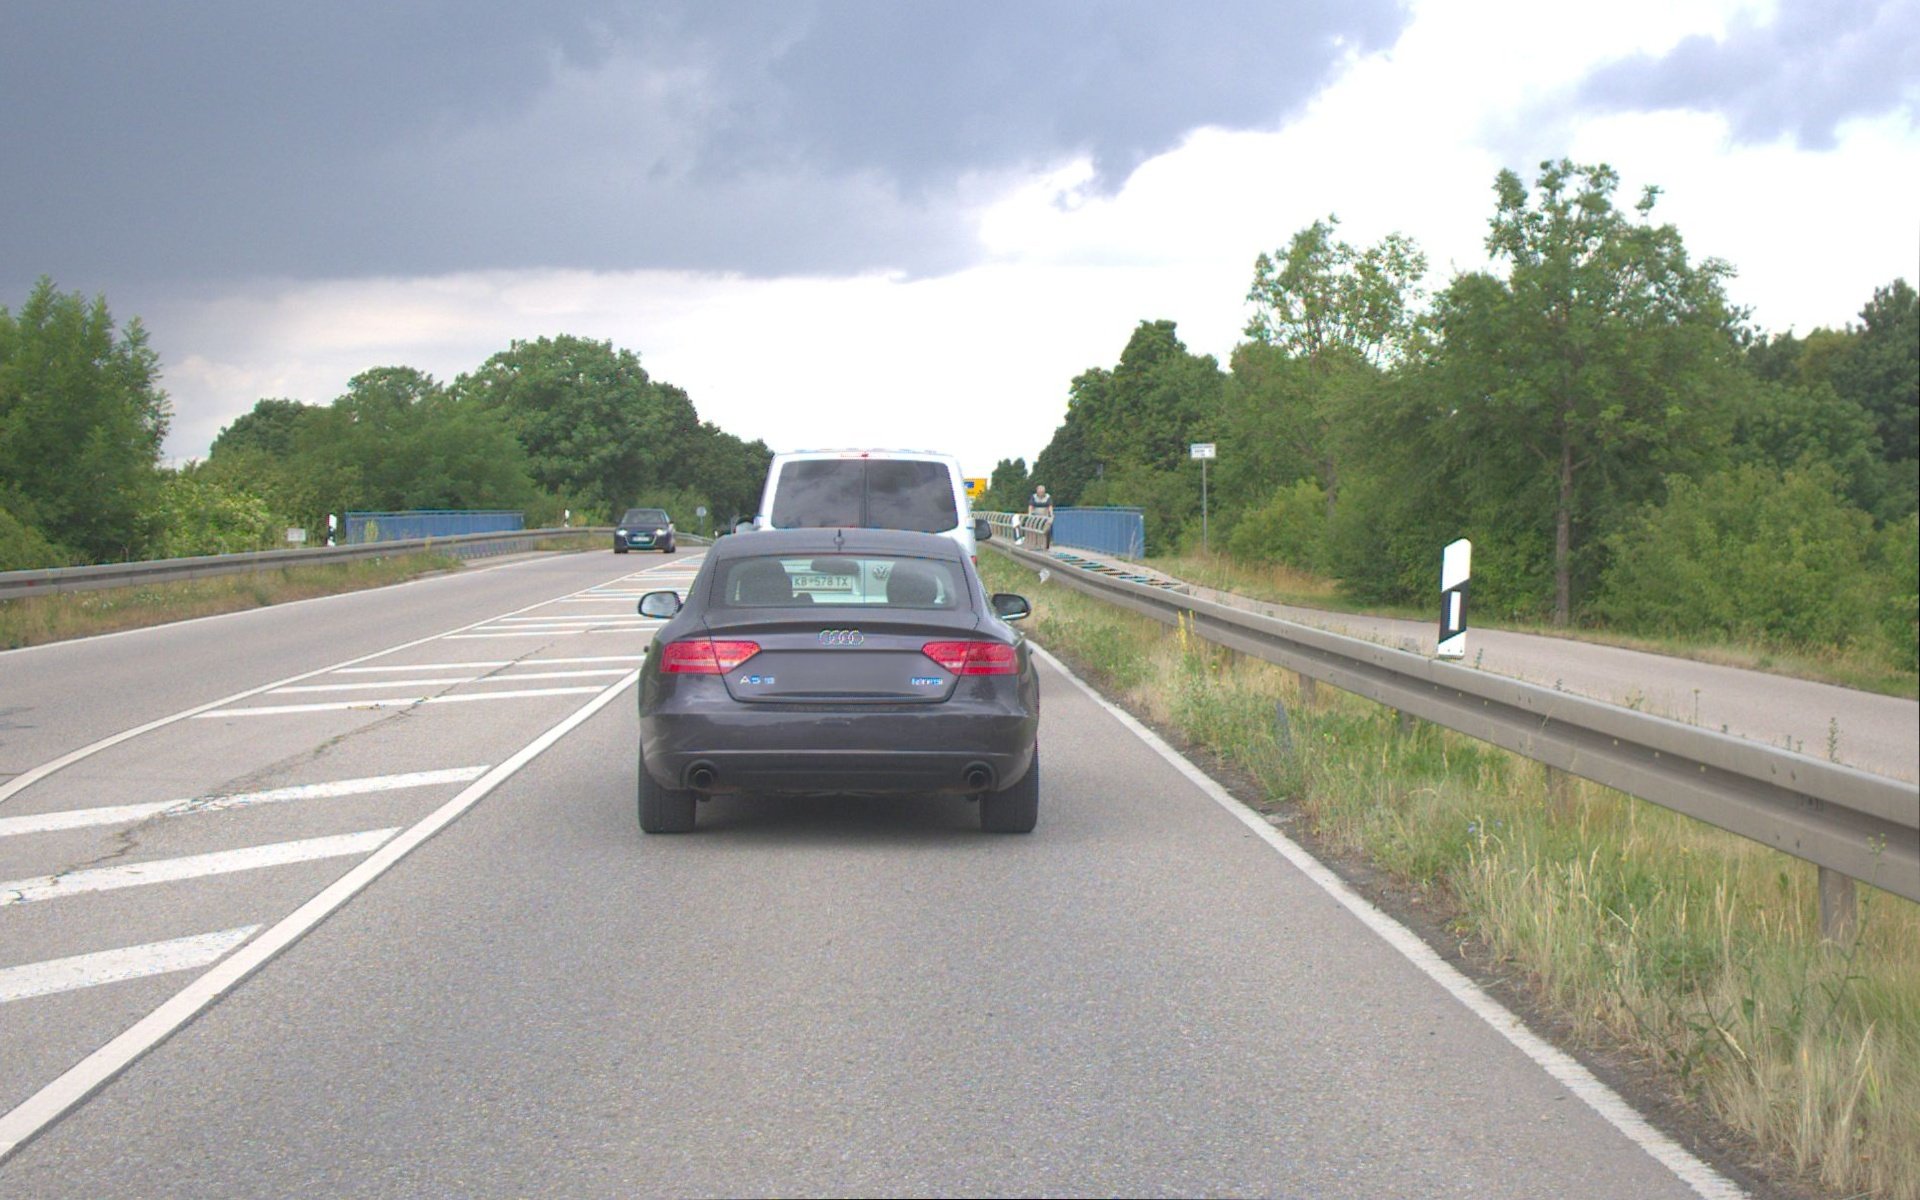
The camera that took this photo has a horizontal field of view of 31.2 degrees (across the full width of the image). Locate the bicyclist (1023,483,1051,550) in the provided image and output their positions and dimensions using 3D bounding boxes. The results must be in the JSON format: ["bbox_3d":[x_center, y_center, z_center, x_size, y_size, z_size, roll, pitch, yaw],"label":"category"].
[{"bbox_3d":[1.888,-2.050,84.441,0.647,1.639,0.866,-1,1,-2],"label":"bicyclist"}]

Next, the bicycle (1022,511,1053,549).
[{"bbox_3d":[1.900,-1.724,84.398,0.666,0.917,1.830,-1,1,-2],"label":"bicycle"}]

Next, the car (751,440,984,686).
[{"bbox_3d":[-0.770,-0.324,28.548,1.785,1.883,4.000,1,1,-2],"label":"car"}]

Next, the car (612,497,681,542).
[{"bbox_3d":[-9.752,-2.520,107.172,1.862,1.371,4.001,0,2,-2],"label":"car"}]

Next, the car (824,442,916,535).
[{"bbox_3d":[-2.480,-3.086,95.314,2.447,2.495,5.042,1,2,-1],"label":"car"}]

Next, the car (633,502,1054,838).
[{"bbox_3d":[-0.551,0.260,16.684,1.785,1.419,4.000,1,1,-2],"label":"car"}]
